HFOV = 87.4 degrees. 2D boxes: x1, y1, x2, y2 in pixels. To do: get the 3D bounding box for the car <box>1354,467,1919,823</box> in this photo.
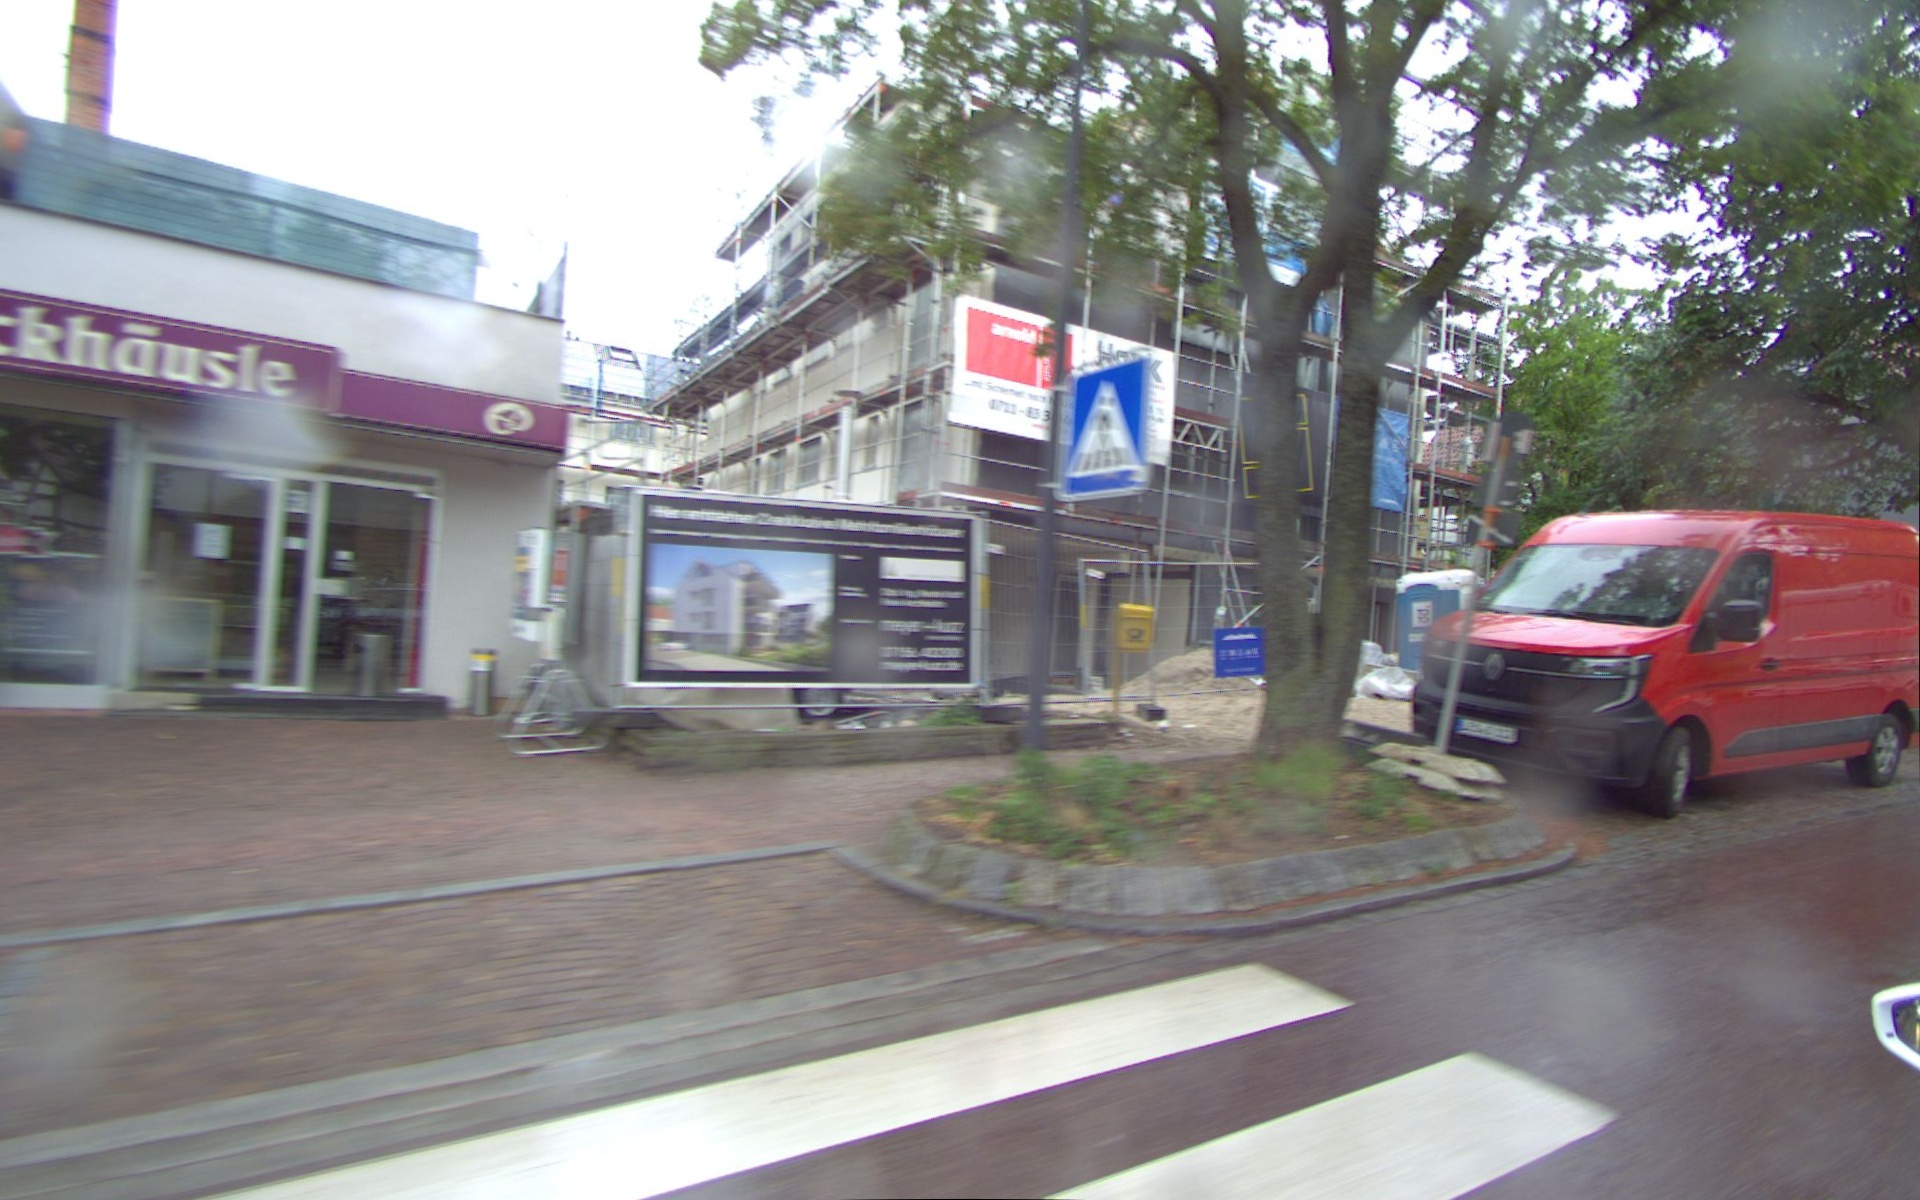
[{"bbox_3d":[6.648,0.342,9.458,5.712,2.516,2.294,1,1,-28],"label":"car"}]
